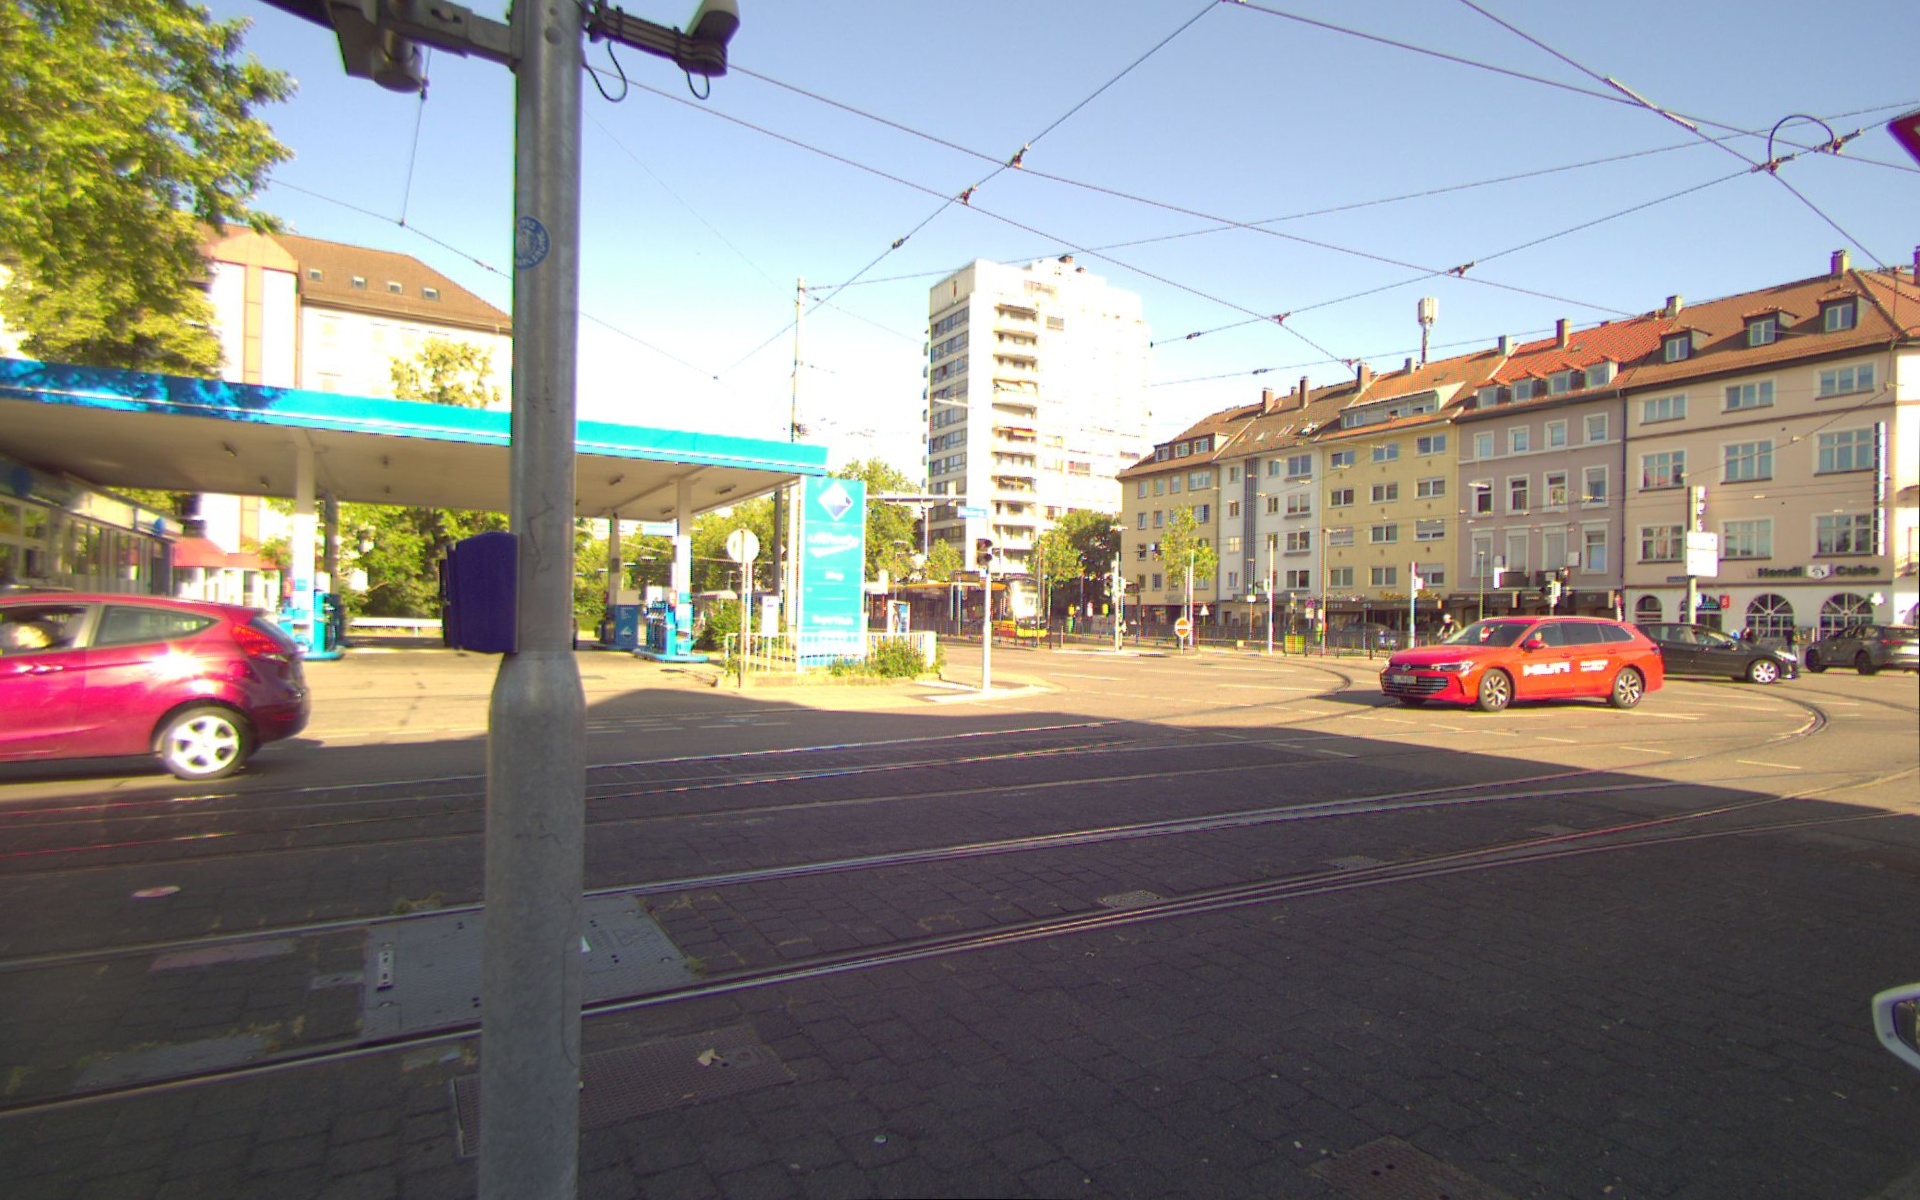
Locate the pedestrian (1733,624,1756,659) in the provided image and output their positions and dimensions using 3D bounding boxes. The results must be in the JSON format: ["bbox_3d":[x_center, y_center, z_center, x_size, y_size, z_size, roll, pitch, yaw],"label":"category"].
[{"bbox_3d":[34.567,1.813,44.261,0.460,1.496,0.629,2,0,-33],"label":"pedestrian"}]

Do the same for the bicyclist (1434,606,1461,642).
[{"bbox_3d":[19.035,0.938,39.229,0.787,1.384,0.560,2,0,2],"label":"bicyclist"}]

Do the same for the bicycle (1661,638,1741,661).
[{"bbox_3d":[37.504,2.493,50.890,0.989,0.993,3.115,2,0,-29],"label":"bicycle"}]

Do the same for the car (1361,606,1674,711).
[{"bbox_3d":[9.135,0.942,16.493,4.692,1.542,1.905,1,-2,-20],"label":"car"}]

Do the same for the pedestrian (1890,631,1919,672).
[{"bbox_3d":[39.086,2.130,41.578,0.623,1.656,0.700,2,0,24],"label":"pedestrian"}]

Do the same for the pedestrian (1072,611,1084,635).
[{"bbox_3d":[8.398,1.616,71.349,0.570,1.649,0.522,2,0,-31],"label":"pedestrian"}]

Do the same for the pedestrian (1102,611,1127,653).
[{"bbox_3d":[6.254,1.301,40.623,0.675,1.656,0.694,2,0,-35],"label":"pedestrian"}]

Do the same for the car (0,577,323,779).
[{"bbox_3d":[-7.372,0.602,7.818,3.953,1.438,1.688,2,-4,-30],"label":"car"}]

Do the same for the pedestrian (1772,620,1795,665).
[{"bbox_3d":[35.725,1.832,43.586,0.460,1.906,0.629,2,0,-33],"label":"pedestrian"}]

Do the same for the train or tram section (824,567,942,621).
[{"bbox_3d":[-5.493,-0.412,68.037,2.751,3.273,12.286,2,0,-31],"label":"train or tram section"}]

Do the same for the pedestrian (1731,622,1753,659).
[{"bbox_3d":[34.932,1.808,44.853,0.460,1.633,0.629,2,0,-33],"label":"pedestrian"}]

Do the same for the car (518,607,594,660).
[{"bbox_3d":[-12.128,0.972,30.056,1.764,1.411,3.455,2,0,-28],"label":"car"}]

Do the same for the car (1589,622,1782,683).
[{"bbox_3d":[18.928,1.333,26.415,3.781,1.380,1.759,2,0,23],"label":"car"}]

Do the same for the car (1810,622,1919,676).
[{"bbox_3d":[30.613,1.604,33.573,1.915,1.639,4.179,2,0,19],"label":"car"}]

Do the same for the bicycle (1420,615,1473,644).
[{"bbox_3d":[19.028,1.145,39.269,1.759,1.084,0.575,2,0,1],"label":"bicycle"}]

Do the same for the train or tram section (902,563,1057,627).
[{"bbox_3d":[0.761,-0.293,57.540,2.751,3.273,12.286,2,0,-31],"label":"train or tram section"}]
